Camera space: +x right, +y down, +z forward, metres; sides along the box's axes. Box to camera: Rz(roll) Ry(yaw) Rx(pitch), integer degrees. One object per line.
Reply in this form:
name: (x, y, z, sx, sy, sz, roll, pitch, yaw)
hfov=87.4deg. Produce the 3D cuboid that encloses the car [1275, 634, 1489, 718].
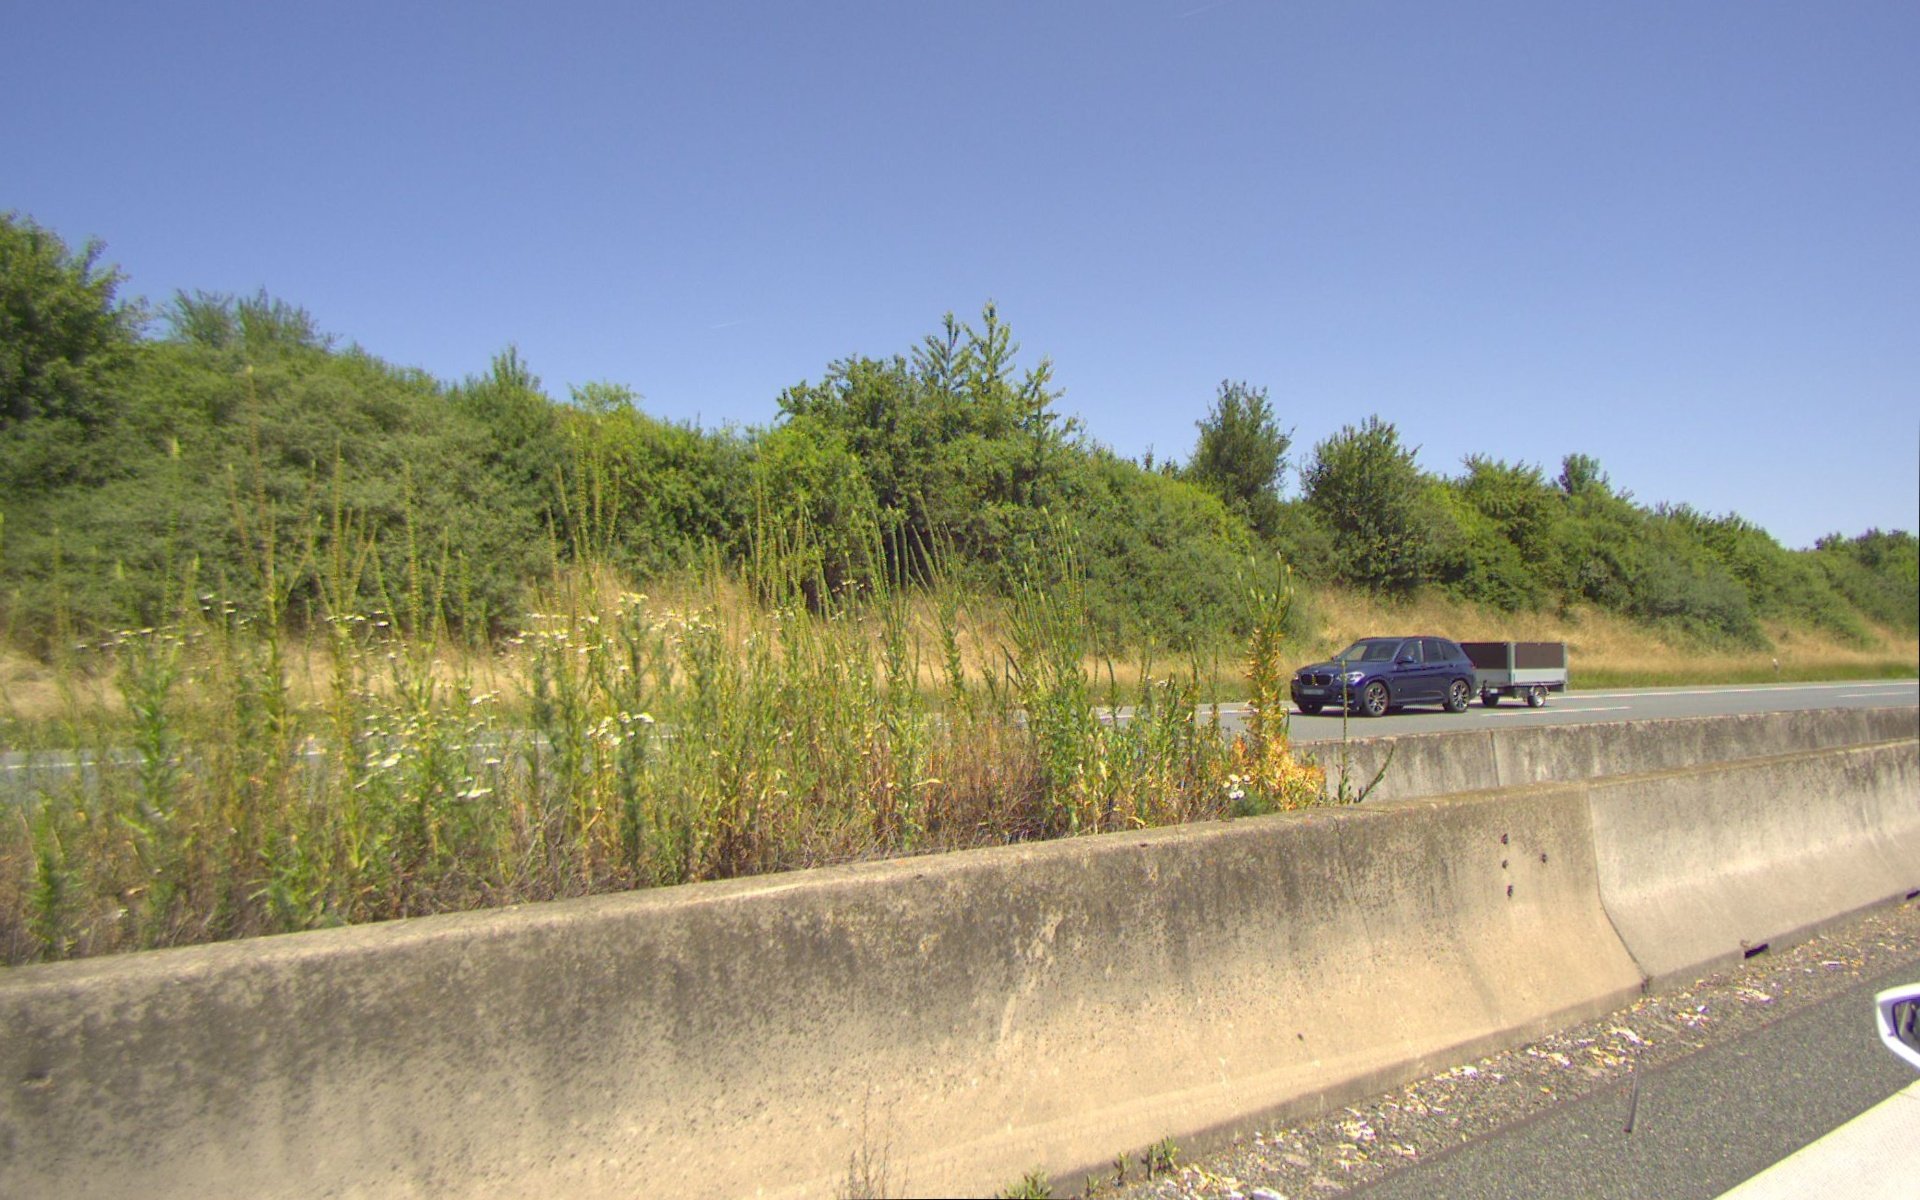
car: (9.309, 1.627, 22.092, 4.575, 1.671, 1.985, 1, -4, -30)

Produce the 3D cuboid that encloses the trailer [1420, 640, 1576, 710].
trailer: (12.966, 1.768, 24.164, 3.735, 1.572, 1.562, 1, -3, -30)
